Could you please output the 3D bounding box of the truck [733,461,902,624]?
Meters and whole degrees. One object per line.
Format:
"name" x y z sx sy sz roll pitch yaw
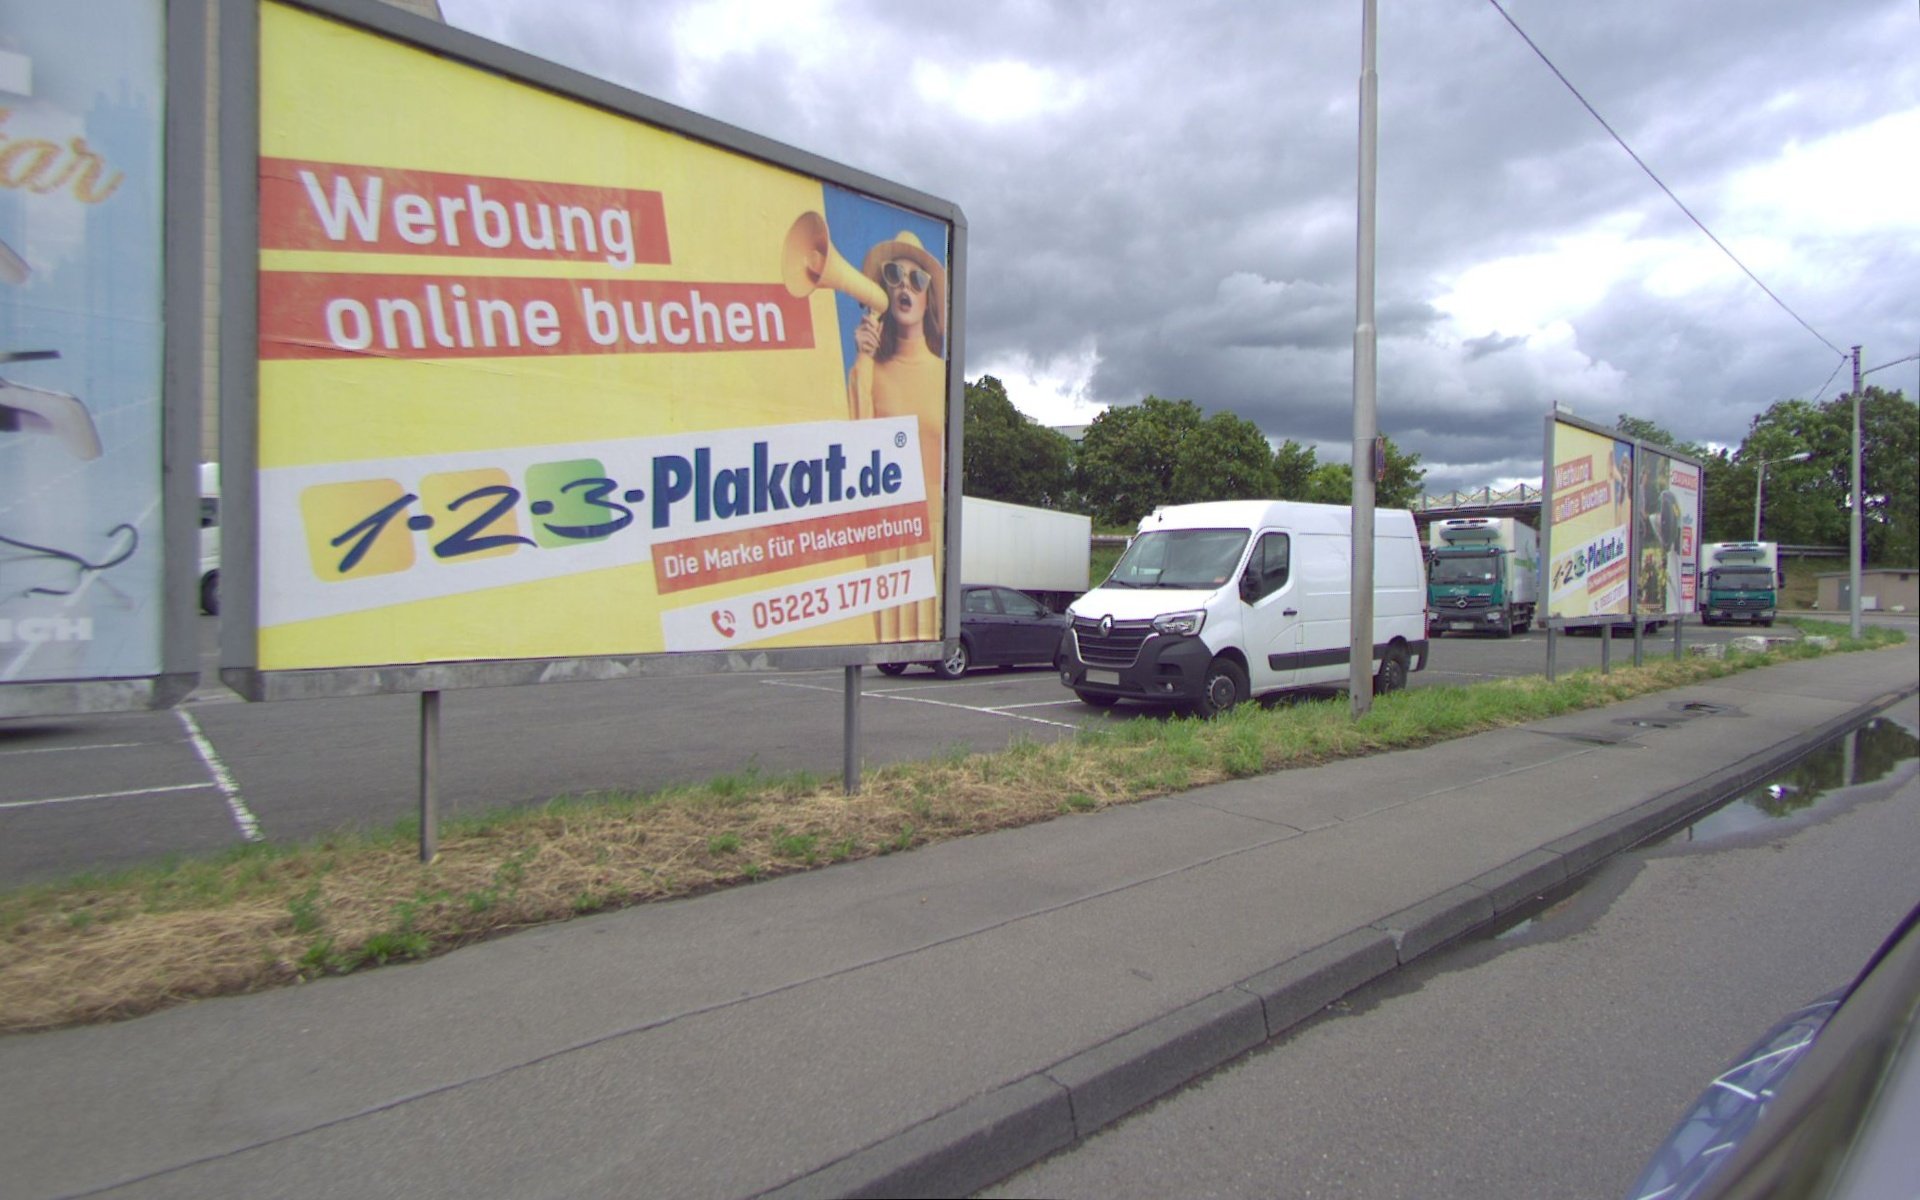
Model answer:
"truck" -4.009 -1.543 28.961 2.693 4.265 4.023 2 1 37

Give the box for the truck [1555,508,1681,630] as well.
"truck" 24.443 -0.995 37.307 2.973 3.879 10.289 0 0 38

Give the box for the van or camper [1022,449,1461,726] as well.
"van or camper" 3.740 -0.178 12.631 6.005 2.680 2.261 0 2 -40

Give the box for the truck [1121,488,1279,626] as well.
"truck" 8.287 -1.423 34.044 3.046 4.050 7.957 4 3 29

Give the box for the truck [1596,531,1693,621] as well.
"truck" 31.337 -1.077 46.146 3.055 3.677 8.489 -2 0 38

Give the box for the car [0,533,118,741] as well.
"car" -9.234 0.282 7.639 4.354 1.632 1.892 -1 2 -43

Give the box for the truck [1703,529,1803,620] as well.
"truck" 35.307 -1.120 45.334 3.053 3.676 8.497 0 1 35

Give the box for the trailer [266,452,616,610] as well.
"trailer" -15.896 -1.892 32.222 2.745 4.243 10.031 2 1 30

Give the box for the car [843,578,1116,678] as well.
"car" 0.410 0.390 16.892 4.347 1.463 1.894 -1 0 -38

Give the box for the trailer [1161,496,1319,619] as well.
"trailer" 11.426 -1.529 39.894 3.037 4.026 12.971 3 2 28

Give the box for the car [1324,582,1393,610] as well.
"car" 23.841 -0.245 60.671 1.830 1.526 4.009 0 2 -14

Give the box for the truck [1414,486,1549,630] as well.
"truck" 19.114 -1.407 36.627 2.969 4.488 10.427 0 1 35

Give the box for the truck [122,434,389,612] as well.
"truck" -18.724 -1.894 27.191 2.763 4.268 5.185 2 1 29

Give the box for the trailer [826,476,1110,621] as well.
"trailer" 0.924 -1.565 35.726 2.691 4.231 13.310 2 1 36
